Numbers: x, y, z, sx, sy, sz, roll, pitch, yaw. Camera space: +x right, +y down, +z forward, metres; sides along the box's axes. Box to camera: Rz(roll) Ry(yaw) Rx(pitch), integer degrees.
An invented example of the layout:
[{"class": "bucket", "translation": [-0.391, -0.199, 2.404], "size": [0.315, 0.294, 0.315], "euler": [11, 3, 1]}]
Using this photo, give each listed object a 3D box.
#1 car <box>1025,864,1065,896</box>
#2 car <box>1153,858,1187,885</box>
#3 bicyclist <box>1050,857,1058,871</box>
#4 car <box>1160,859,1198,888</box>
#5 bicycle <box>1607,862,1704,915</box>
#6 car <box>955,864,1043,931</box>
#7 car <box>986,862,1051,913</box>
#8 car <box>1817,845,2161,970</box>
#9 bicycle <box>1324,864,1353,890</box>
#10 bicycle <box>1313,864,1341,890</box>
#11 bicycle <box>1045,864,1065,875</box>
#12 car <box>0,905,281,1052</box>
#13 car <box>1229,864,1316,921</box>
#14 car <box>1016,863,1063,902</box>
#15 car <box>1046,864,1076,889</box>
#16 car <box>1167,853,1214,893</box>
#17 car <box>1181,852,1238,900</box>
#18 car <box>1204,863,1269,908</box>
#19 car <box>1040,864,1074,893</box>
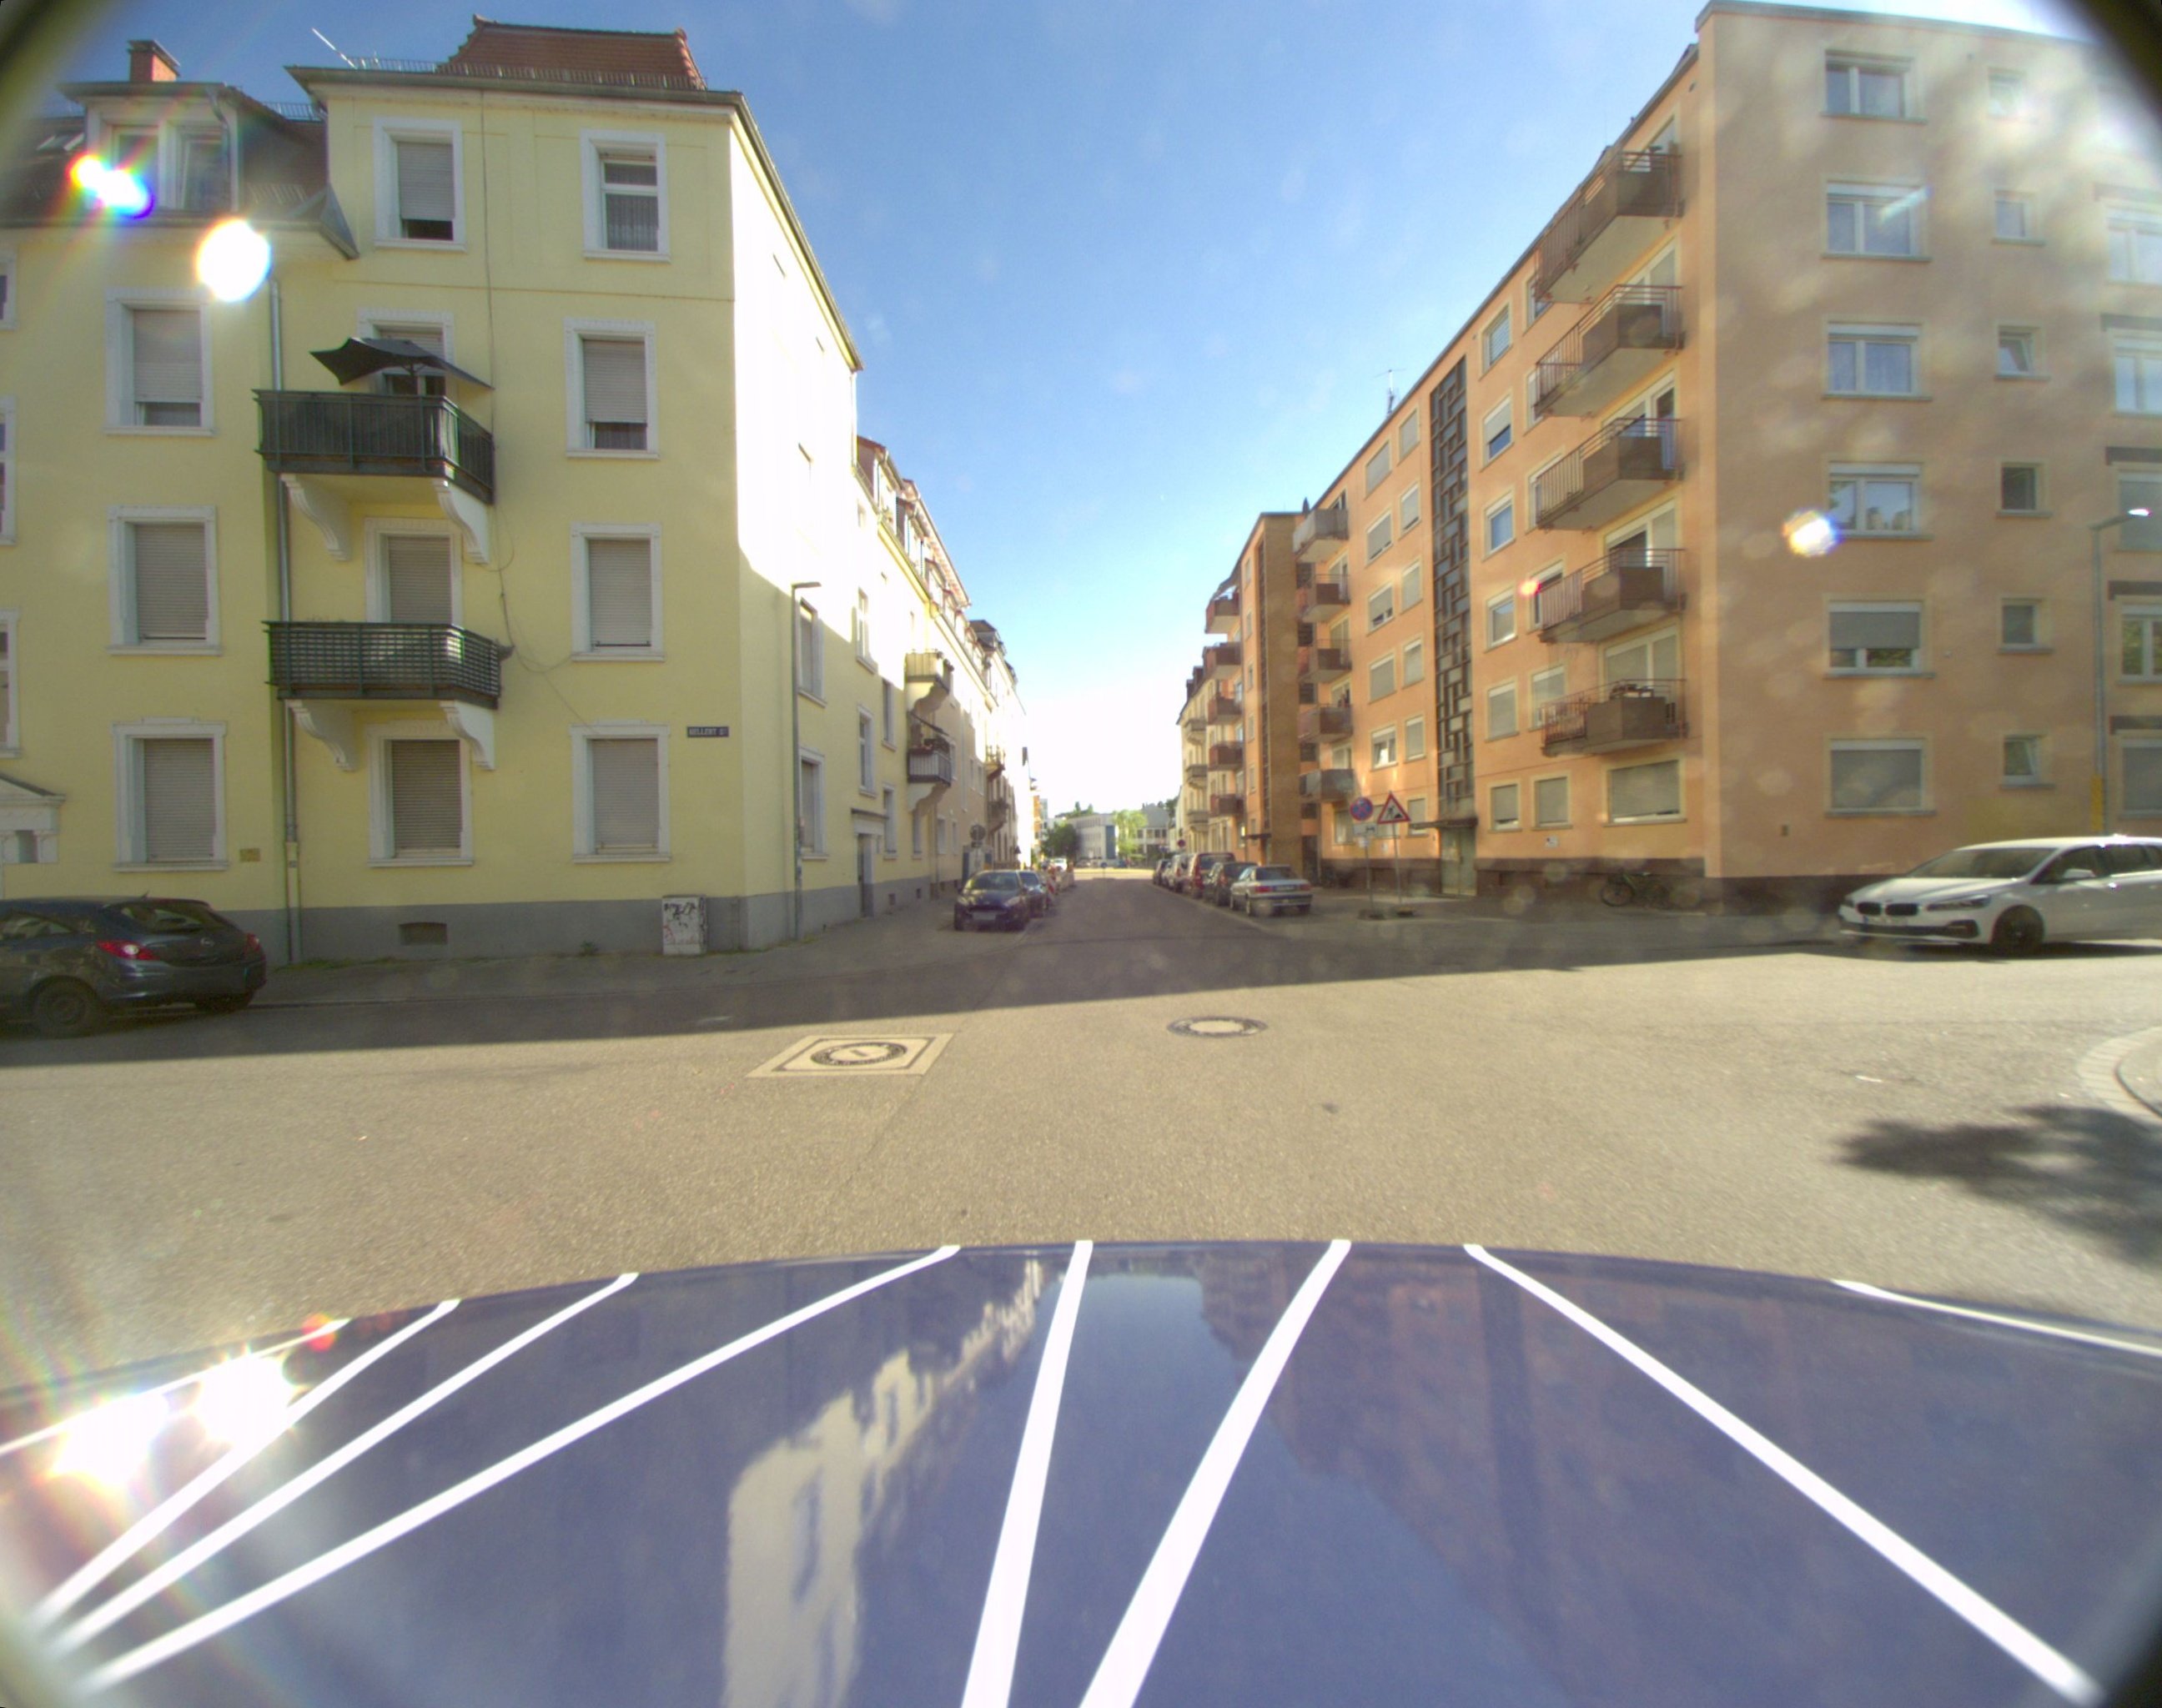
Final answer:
[{"class": "car", "translation": [-1.751, 1.236, 37.544], "size": [1.708, 1.417, 3.722], "euler": [-1, 0, 1]}, {"class": "car", "translation": [5.727, 1.097, 49.308], "size": [1.822, 1.589, 3.812], "euler": [-1, 0, 1]}, {"class": "bicyclist", "translation": [-2.870, 1.052, 80.920], "size": [0.743, 1.388, 0.727], "euler": [-2, 0, 1]}, {"class": "car", "translation": [5.724, 1.107, 44.773], "size": [1.822, 1.589, 3.812], "euler": [-1, 0, 1]}, {"class": "bicycle", "translation": [12.805, 0.743, 17.018], "size": [0.688, 1.101, 1.805], "euler": [-1, 0, -5]}, {"class": "car", "translation": [-1.917, 0.988, 18.703], "size": [1.708, 1.417, 3.722], "euler": [0, 1, 1]}, {"class": "car", "translation": [-1.907, 0.991, 24.171], "size": [1.708, 1.417, 3.722], "euler": [0, 1, 1]}, {"class": "car", "translation": [13.670, 0.698, 11.065], "size": [4.454, 1.550, 1.780], "euler": [-1, 0, -6]}, {"class": "bicycle", "translation": [11.383, 0.990, 33.622], "size": [0.494, 1.101, 1.805], "euler": [-1, 0, -5]}, {"class": "bicycle", "translation": [10.841, 1.011, 33.549], "size": [0.494, 1.101, 1.805], "euler": [-1, 0, -5]}, {"class": "bicycle", "translation": [-2.772, 1.649, 80.933], "size": [2.020, 1.041, 0.730], "euler": [-2, 0, 1]}, {"class": "car", "translation": [-11.501, 1.328, 8.352], "size": [3.509, 1.371, 1.647], "euler": [-1, -2, -5]}, {"class": "car", "translation": [5.413, 1.045, 21.844], "size": [1.678, 1.413, 3.501], "euler": [-1, 0, 1]}, {"class": "car", "translation": [-1.620, 1.111, 30.516], "size": [1.708, 1.417, 3.722], "euler": [-1, 0, -1]}, {"class": "car", "translation": [-1.196, 1.347, 46.615], "size": [1.708, 1.417, 3.722], "euler": [0, 1, 1]}, {"class": "car", "translation": [5.486, 0.927, 38.463], "size": [1.822, 1.867, 4.111], "euler": [-1, 0, 1]}, {"class": "car", "translation": [5.423, 0.893, 32.486], "size": [1.822, 1.867, 4.111], "euler": [-1, 0, 1]}, {"class": "car", "translation": [5.416, 1.070, 26.840], "size": [1.678, 1.413, 3.286], "euler": [-1, 0, 1]}, {"class": "car", "translation": [-1.305, 1.330, 42.075], "size": [1.708, 1.417, 3.722], "euler": [0, 1, 1]}]
